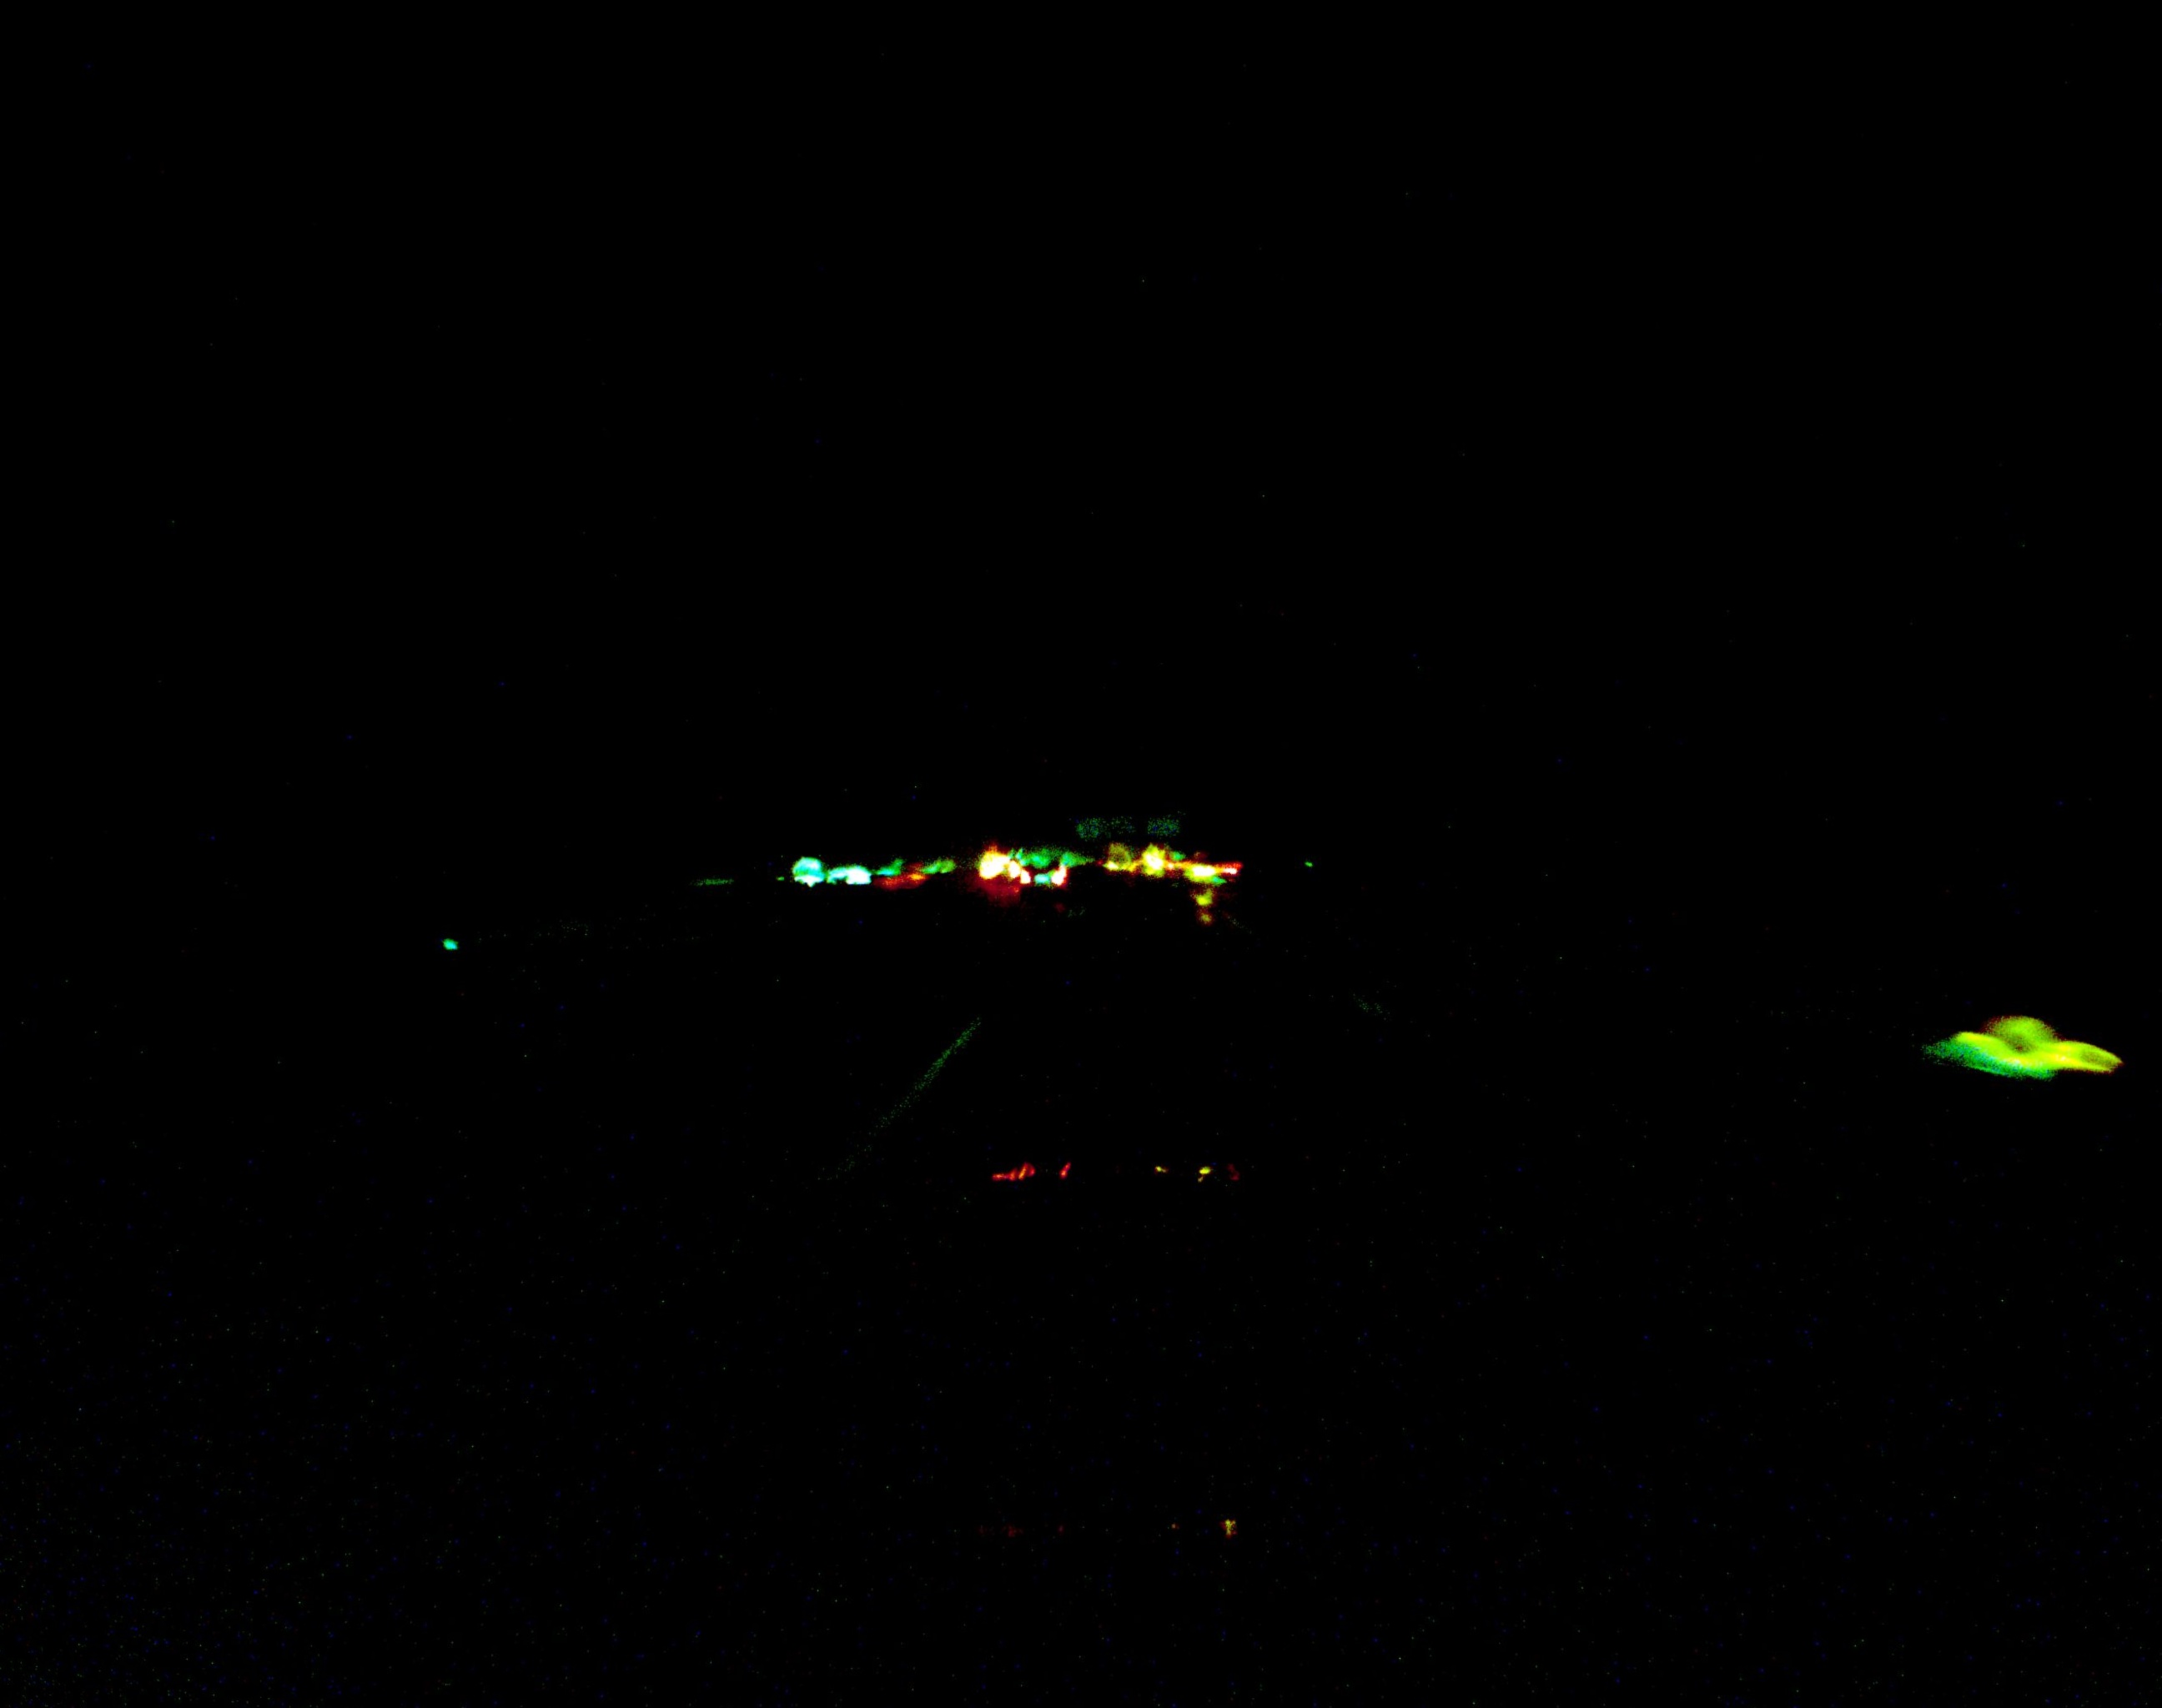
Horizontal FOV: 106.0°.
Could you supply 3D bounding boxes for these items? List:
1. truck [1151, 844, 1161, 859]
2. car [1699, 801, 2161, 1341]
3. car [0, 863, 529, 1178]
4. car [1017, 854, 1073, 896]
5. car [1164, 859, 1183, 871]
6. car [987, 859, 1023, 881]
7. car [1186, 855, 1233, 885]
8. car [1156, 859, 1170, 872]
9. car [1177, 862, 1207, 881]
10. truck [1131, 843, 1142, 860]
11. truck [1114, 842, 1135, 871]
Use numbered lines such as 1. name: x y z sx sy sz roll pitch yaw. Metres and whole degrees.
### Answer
1. truck: 17.065 -0.495 184.979 1.984 3.043 6.473 -4 -1 5
2. car: 4.058 0.594 1.482 2.051 1.519 5.014 -1 0 0
3. car: -6.191 0.850 5.215 1.850 1.541 4.755 -1 0 3
4. car: -1.385 0.790 32.425 1.794 1.487 4.004 -1 0 3
5. car: 9.640 1.176 84.659 1.576 1.246 3.067 0 -1 -1
6. car: -4.667 0.985 50.356 1.656 1.236 3.762 -4 -1 1
7. car: 5.644 0.705 36.040 1.576 1.246 3.067 0 -1 -1
8. car: 10.749 1.540 106.923 1.854 1.618 4.005 0 -1 5
9. car: 7.552 1.166 55.541 1.576 1.246 3.067 0 -1 -1
10. truck: 11.263 -0.475 164.839 1.984 3.043 6.473 -4 -1 5
11. truck: 4.908 0.358 91.388 1.984 3.043 6.473 -4 -1 5
